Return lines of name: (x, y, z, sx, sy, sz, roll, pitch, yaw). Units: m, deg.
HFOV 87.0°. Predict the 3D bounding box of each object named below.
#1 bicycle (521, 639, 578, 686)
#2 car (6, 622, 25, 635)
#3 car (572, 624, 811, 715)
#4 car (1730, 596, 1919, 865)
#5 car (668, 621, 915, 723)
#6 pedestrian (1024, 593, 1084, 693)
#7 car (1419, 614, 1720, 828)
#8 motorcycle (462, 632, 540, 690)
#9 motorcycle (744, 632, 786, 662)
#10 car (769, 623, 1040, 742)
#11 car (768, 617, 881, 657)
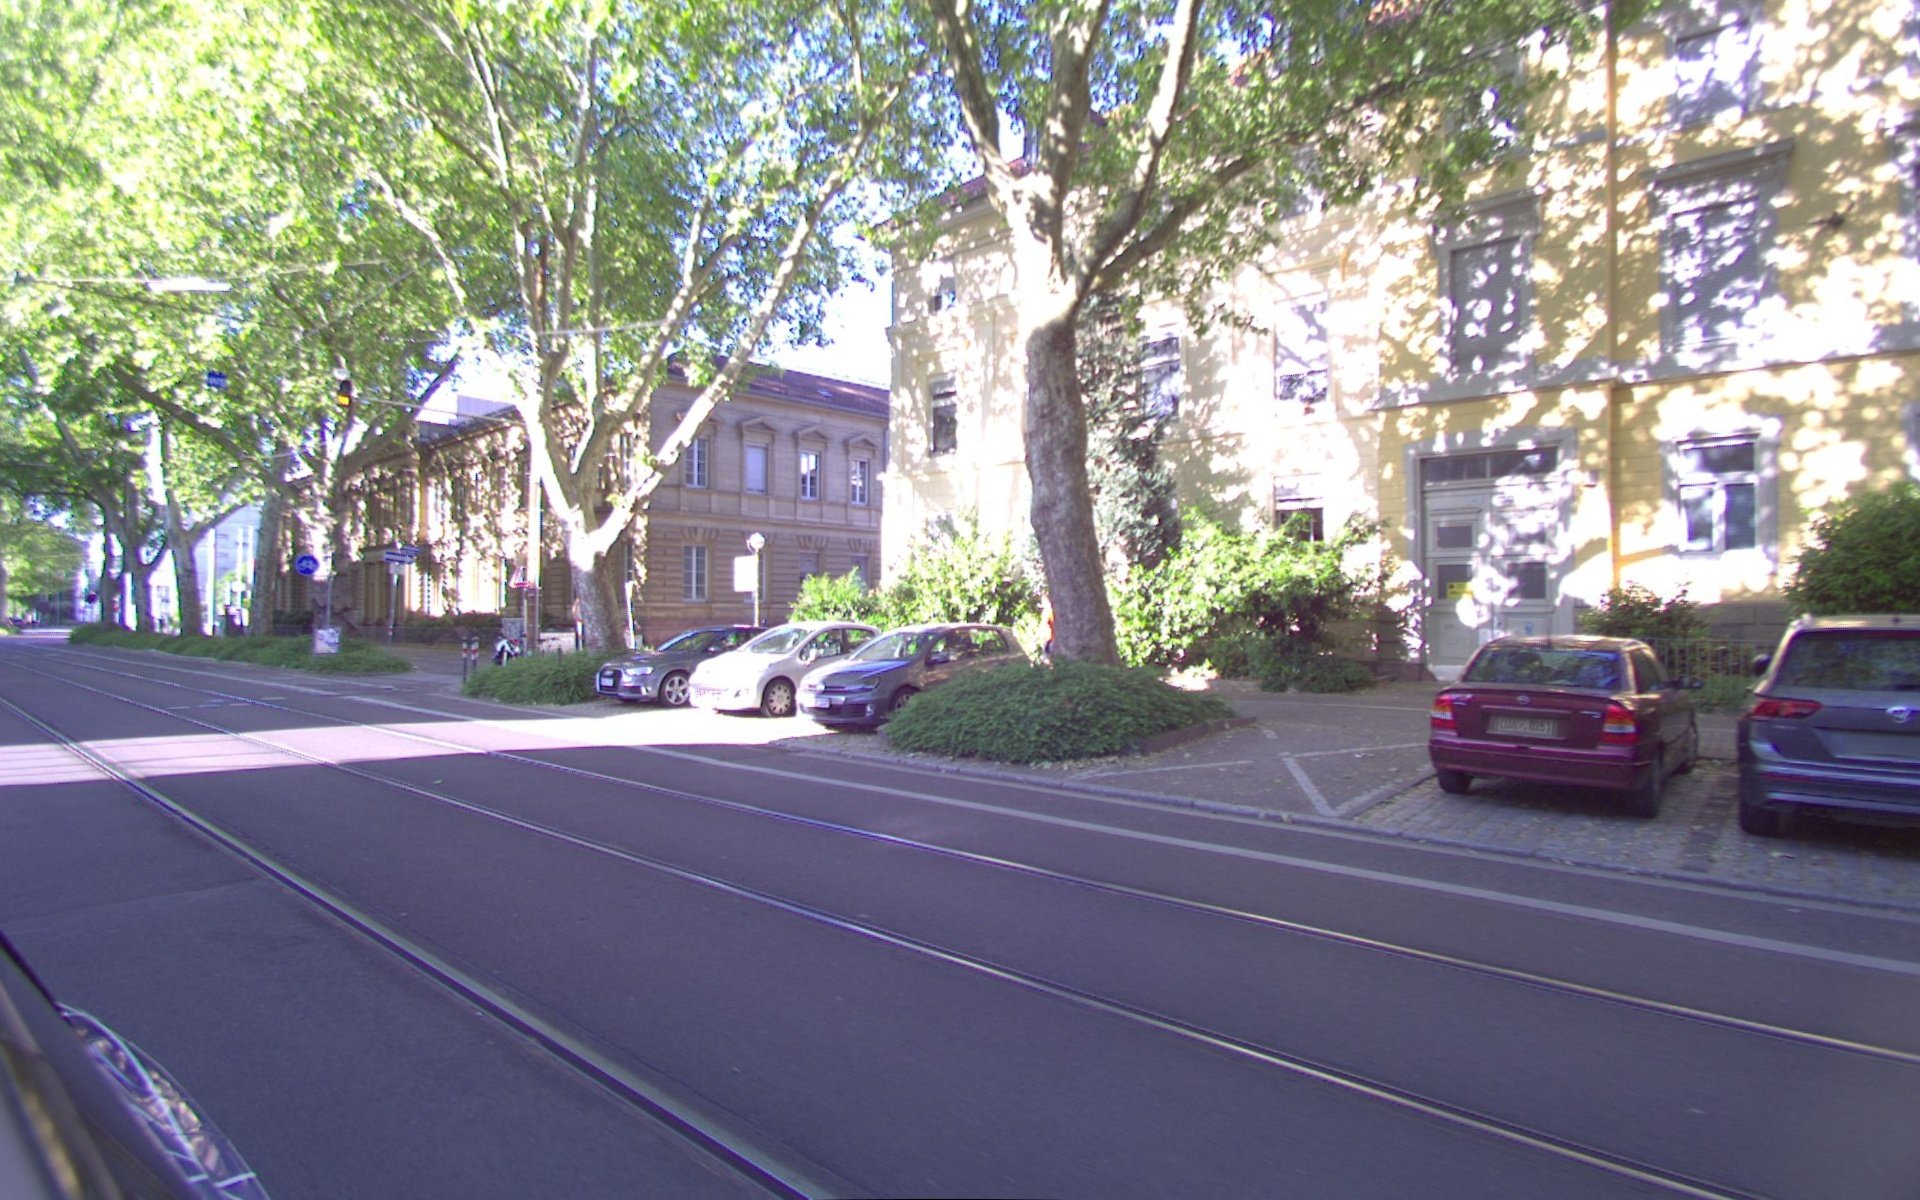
bicycle: (-9.146, 1.367, 22.511, 0.534, 0.948, 2.037, 0, -1, -41)
car: (-130.820, 3.946, 140.143, 1.845, 1.642, 4.563, 1, -2, -44)
car: (-4.832, 1.177, 18.585, 1.847, 1.342, 3.879, -1, 1, 41)
car: (7.312, 0.816, 7.863, 1.878, 1.639, 3.953, -1, 0, 41)
car: (-2.738, 1.112, 17.049, 1.799, 1.464, 3.881, -1, -1, 41)
pedestrian: (1.823, 0.816, 19.521, 0.835, 1.863, 0.858, -1, -1, 34)
car: (5.808, 0.907, 9.424, 1.748, 1.452, 3.879, -1, 0, 41)
motorcycle: (-9.867, 1.275, 21.698, 0.873, 1.156, 2.394, 0, -1, -41)
motorcycle: (-7.130, 1.699, 37.013, 0.710, 0.984, 1.959, -1, 0, -37)
car: (-0.705, 1.088, 14.895, 1.805, 1.473, 3.879, -1, -1, 41)
car: (-5.145, 1.373, 38.561, 3.869, 1.342, 1.852, -1, 0, -37)
